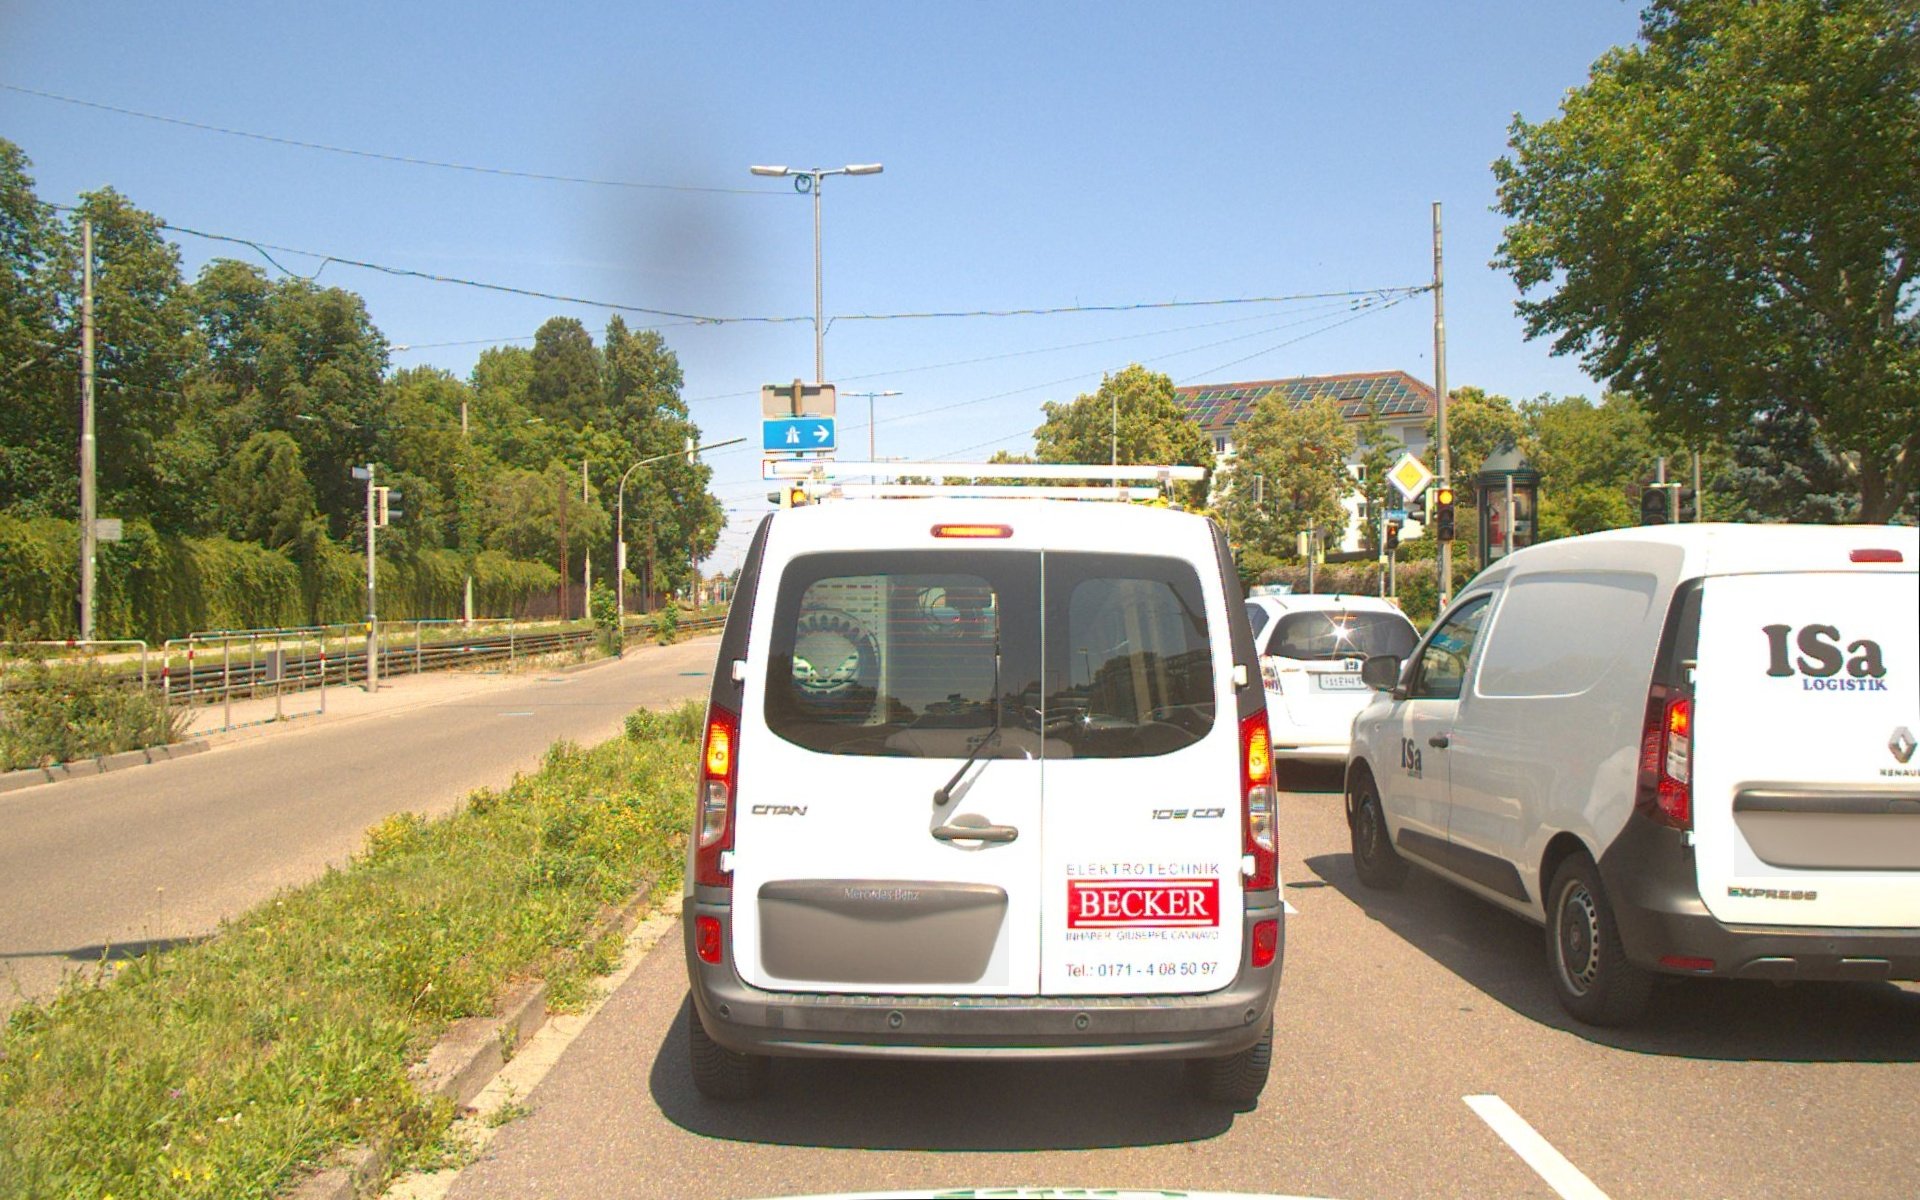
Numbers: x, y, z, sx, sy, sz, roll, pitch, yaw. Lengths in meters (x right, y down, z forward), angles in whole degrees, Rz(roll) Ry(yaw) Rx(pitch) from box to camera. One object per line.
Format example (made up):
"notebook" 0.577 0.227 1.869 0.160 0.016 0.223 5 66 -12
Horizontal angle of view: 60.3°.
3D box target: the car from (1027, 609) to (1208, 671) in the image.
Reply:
"car" 3.605 0.894 38.026 3.802 1.334 1.692 -1 0 32

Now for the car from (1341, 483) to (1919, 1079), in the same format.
"car" 3.032 0.566 7.222 1.676 1.862 4.012 0 0 -2

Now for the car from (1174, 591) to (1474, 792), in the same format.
"car" 3.056 0.696 14.681 1.720 1.512 3.999 1 0 -1

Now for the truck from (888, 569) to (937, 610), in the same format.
"truck" -4.467 -0.985 154.462 3.510 3.696 8.790 0 0 -9

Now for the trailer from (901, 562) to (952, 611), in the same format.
"trailer" -3.008 -1.184 145.633 3.461 4.121 8.962 0 0 -8

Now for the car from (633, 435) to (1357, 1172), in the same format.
"car" 0.047 0.521 6.156 1.829 1.868 3.847 1 0 -2

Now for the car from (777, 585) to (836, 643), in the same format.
"car" -5.668 0.493 61.543 1.953 2.049 3.998 0 0 -2
